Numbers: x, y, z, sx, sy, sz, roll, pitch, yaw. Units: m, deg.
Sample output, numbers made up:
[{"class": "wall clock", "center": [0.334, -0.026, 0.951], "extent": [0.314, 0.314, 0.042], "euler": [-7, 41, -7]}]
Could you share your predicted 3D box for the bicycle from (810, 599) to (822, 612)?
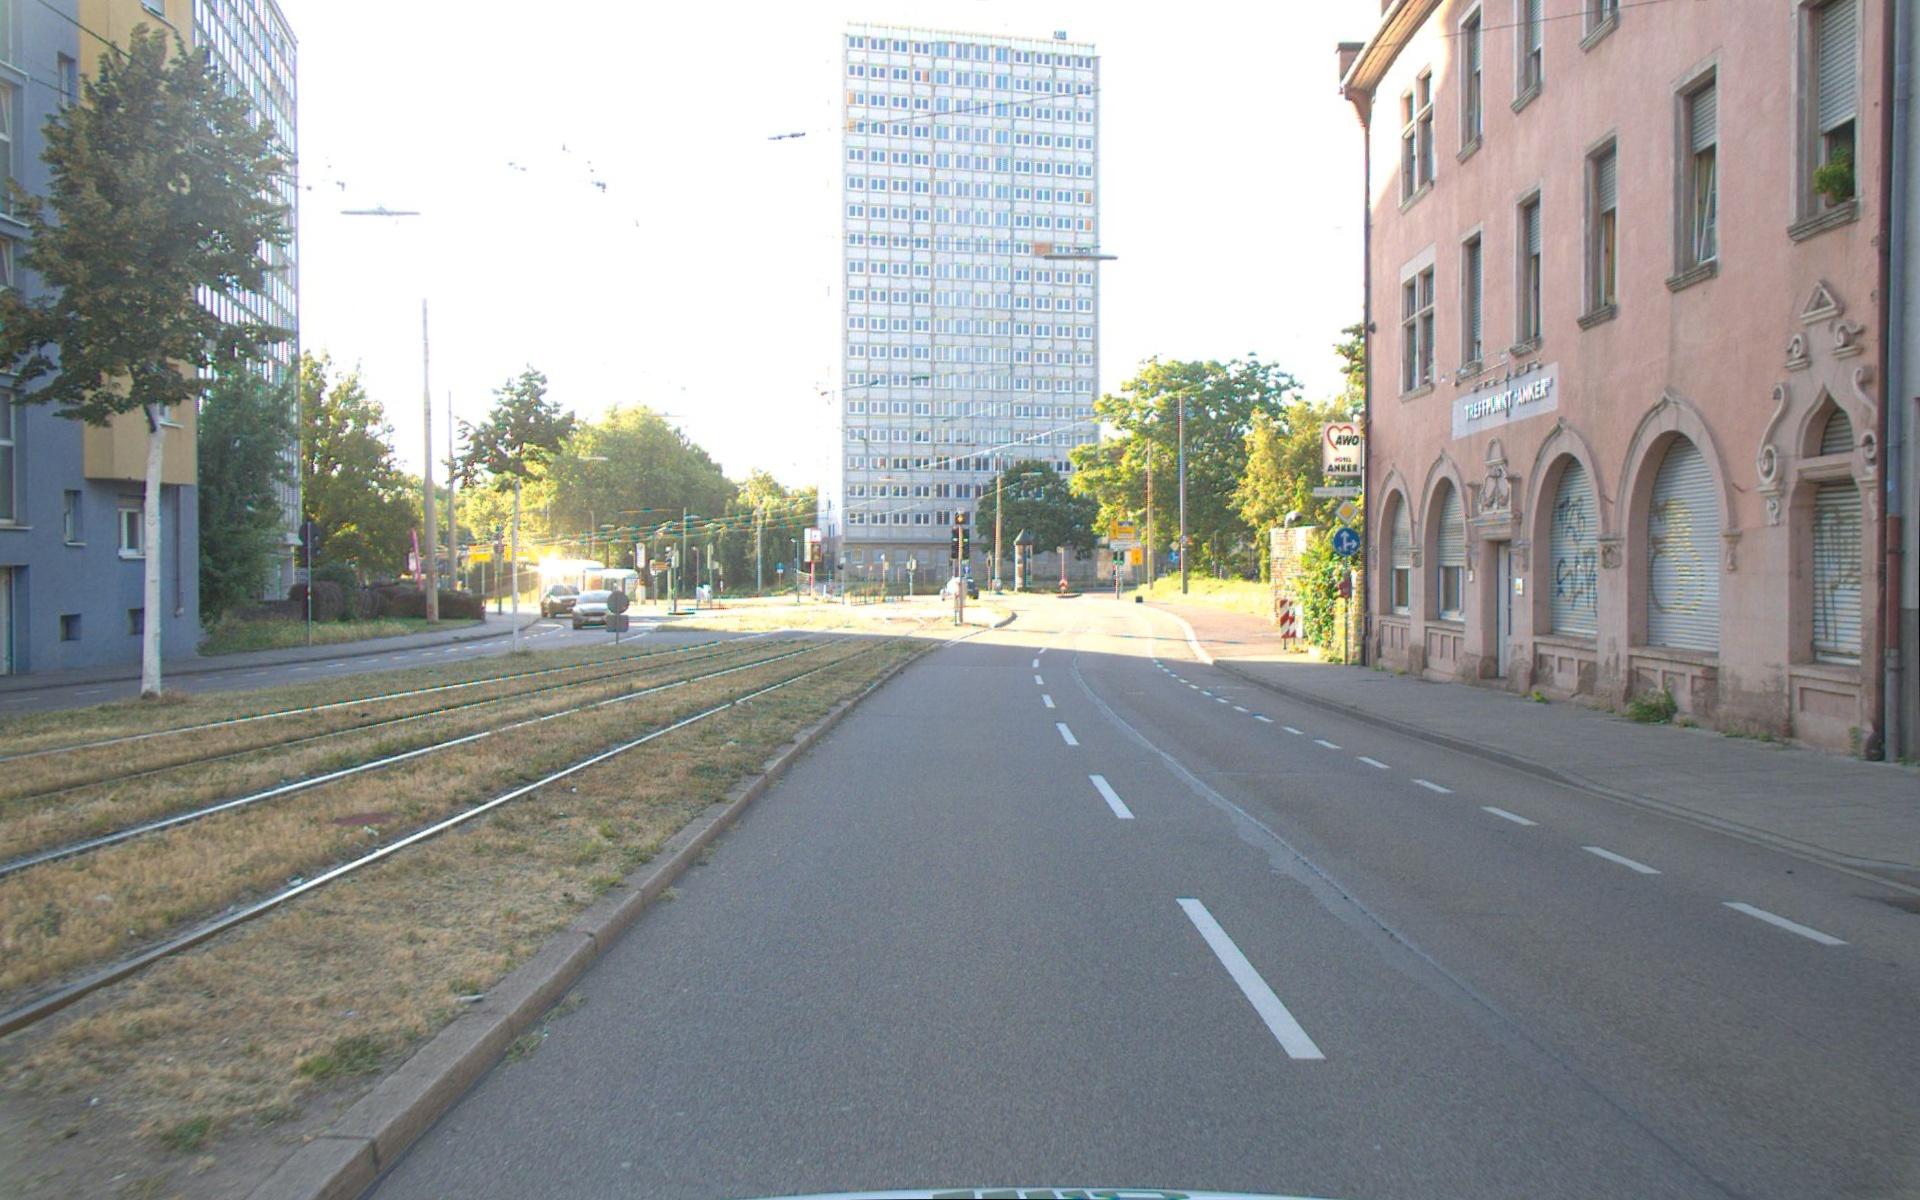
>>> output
[{"class": "bicycle", "center": [-10.865, 0.430, 124.979], "extent": [0.541, 0.933, 1.744], "euler": [-2, 1, 7]}]

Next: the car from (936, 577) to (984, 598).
[{"class": "car", "center": [-0.039, -0.860, 113.365], "extent": [1.751, 1.447, 3.822], "euler": [-1, 1, -27]}]

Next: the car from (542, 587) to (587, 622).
[{"class": "car", "center": [-20.659, 0.227, 86.279], "extent": [1.888, 1.691, 4.685], "euler": [-2, 1, -18]}]

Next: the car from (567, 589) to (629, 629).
[{"class": "car", "center": [-14.472, 0.343, 66.342], "extent": [1.663, 1.485, 4.314], "euler": [-2, 0, -2]}]
